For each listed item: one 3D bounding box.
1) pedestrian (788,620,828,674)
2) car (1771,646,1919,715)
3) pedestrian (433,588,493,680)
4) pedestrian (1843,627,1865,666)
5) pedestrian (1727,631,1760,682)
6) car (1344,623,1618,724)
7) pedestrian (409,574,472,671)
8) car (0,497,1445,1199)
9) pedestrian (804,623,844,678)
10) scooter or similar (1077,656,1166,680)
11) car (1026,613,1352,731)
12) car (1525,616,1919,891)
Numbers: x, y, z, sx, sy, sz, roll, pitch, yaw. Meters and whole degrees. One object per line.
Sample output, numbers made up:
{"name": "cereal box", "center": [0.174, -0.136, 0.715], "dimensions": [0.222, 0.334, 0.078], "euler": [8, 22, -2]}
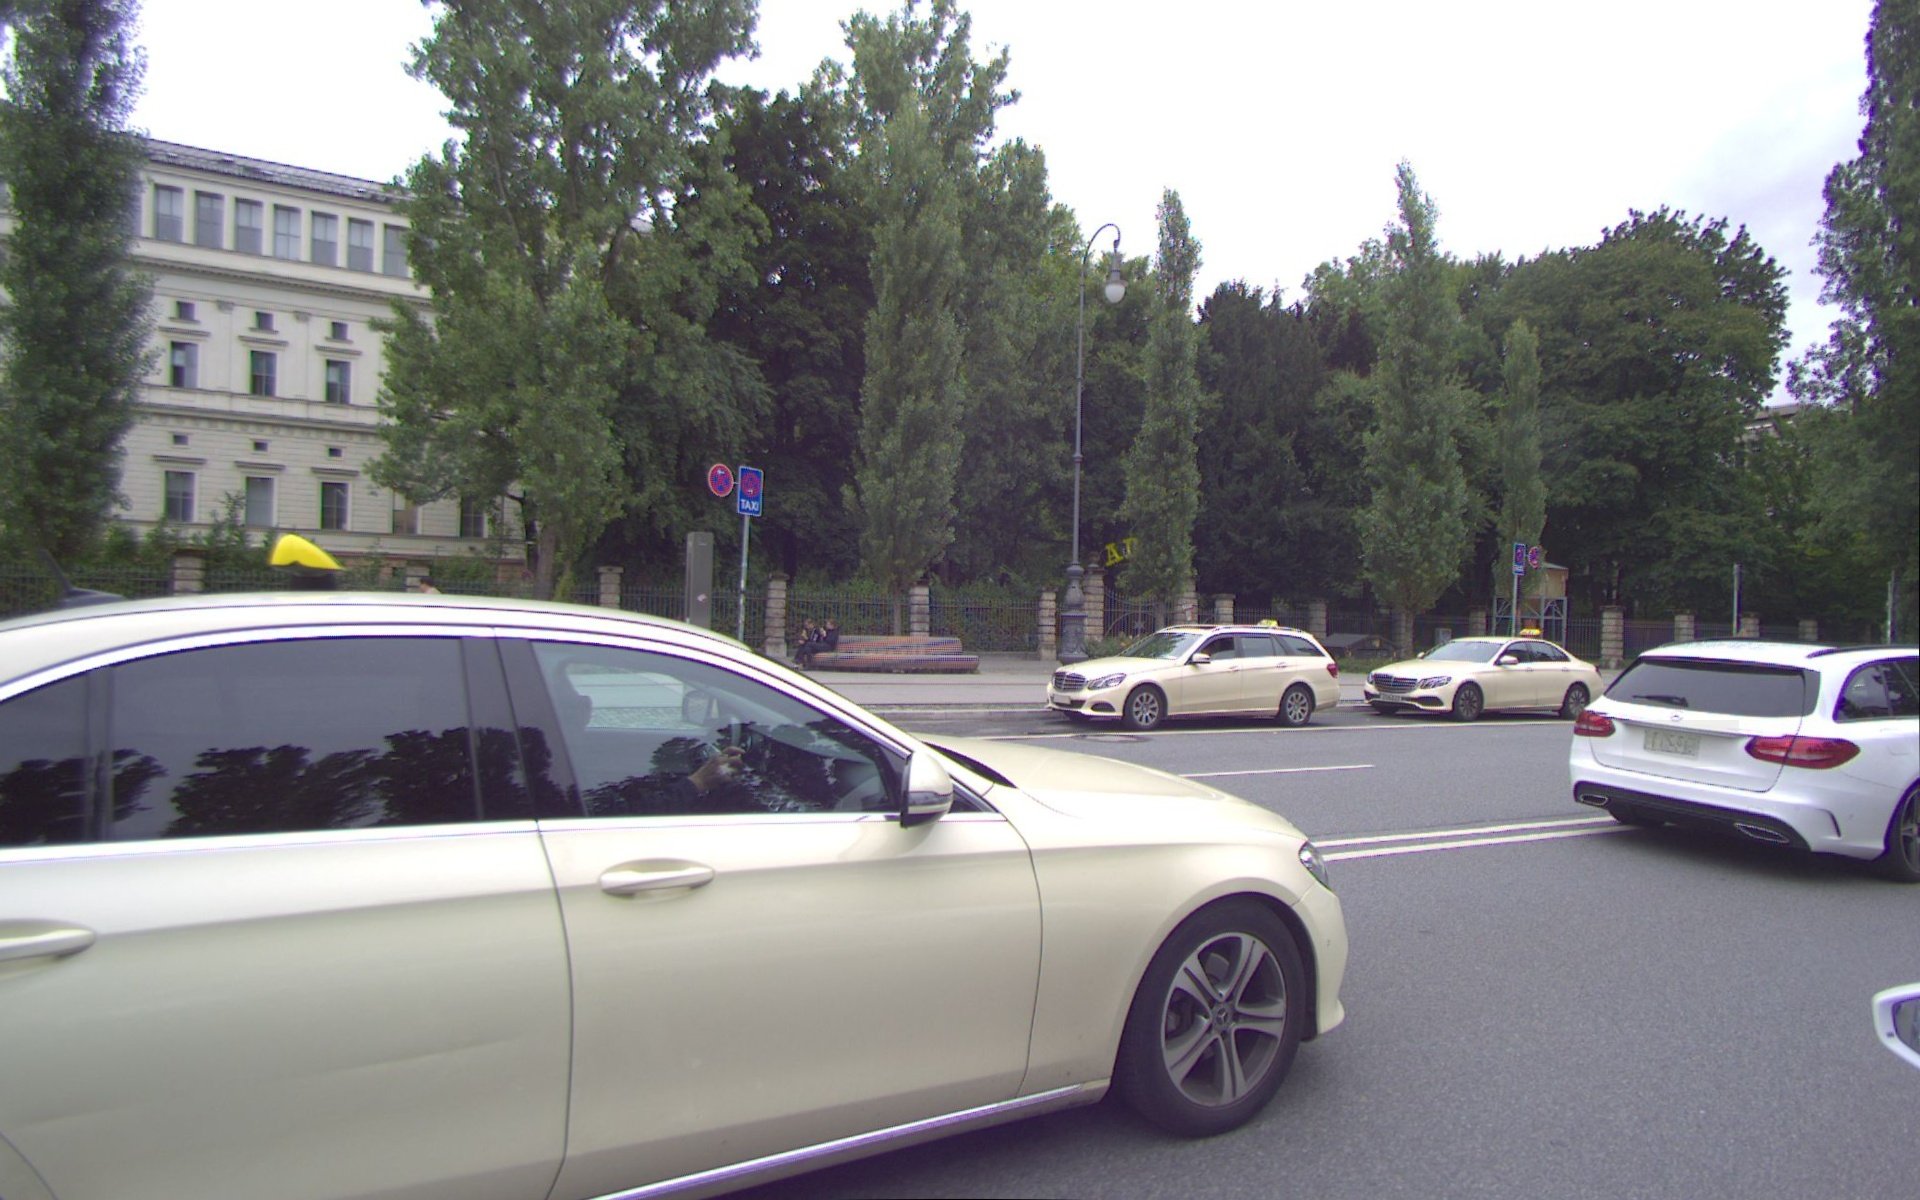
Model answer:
{"name": "pedestrian", "center": [-3.949, 1.220, 26.124], "dimensions": [0.568, 1.355, 0.837], "euler": [1, -1, 38]}
{"name": "car", "center": [22.278, 1.918, 24.603], "dimensions": [4.725, 1.517, 1.925], "euler": [1, -1, -25]}
{"name": "pedestrian", "center": [-9.450, 0.646, 19.088], "dimensions": [0.955, 1.700, 0.840], "euler": [2, -1, -30]}
{"name": "pedestrian", "center": [48.012, 2.478, 53.937], "dimensions": [0.553, 2.040, 0.695], "euler": [2, 0, -26]}
{"name": "pedestrian", "center": [27.408, 1.975, 35.134], "dimensions": [0.777, 1.743, 0.580], "euler": [2, 0, -27]}
{"name": "car", "center": [9.584, 1.330, 18.412], "dimensions": [4.900, 1.645, 1.931], "euler": [3, -2, -26]}
{"name": "pedestrian", "center": [-9.412, 0.409, 18.187], "dimensions": [0.955, 1.700, 0.840], "euler": [2, -1, -30]}
{"name": "car", "center": [-0.988, 0.657, 2.817], "dimensions": [4.634, 1.596, 1.906], "euler": [3, 1, -30]}
{"name": "pedestrian", "center": [-3.454, 1.284, 25.558], "dimensions": [0.568, 1.355, 0.837], "euler": [1, -1, 38]}
{"name": "scooter or similar", "center": [4.526, 1.888, 28.103], "dimensions": [2.194, 0.525, 1.332], "euler": [1, -1, 24]}
{"name": "car", "center": [3.543, 1.097, 15.336], "dimensions": [4.795, 1.579, 1.812], "euler": [3, -3, -26]}
{"name": "car", "center": [6.523, 0.953, 7.356], "dimensions": [4.520, 1.474, 1.820], "euler": [2, 0, -25]}
